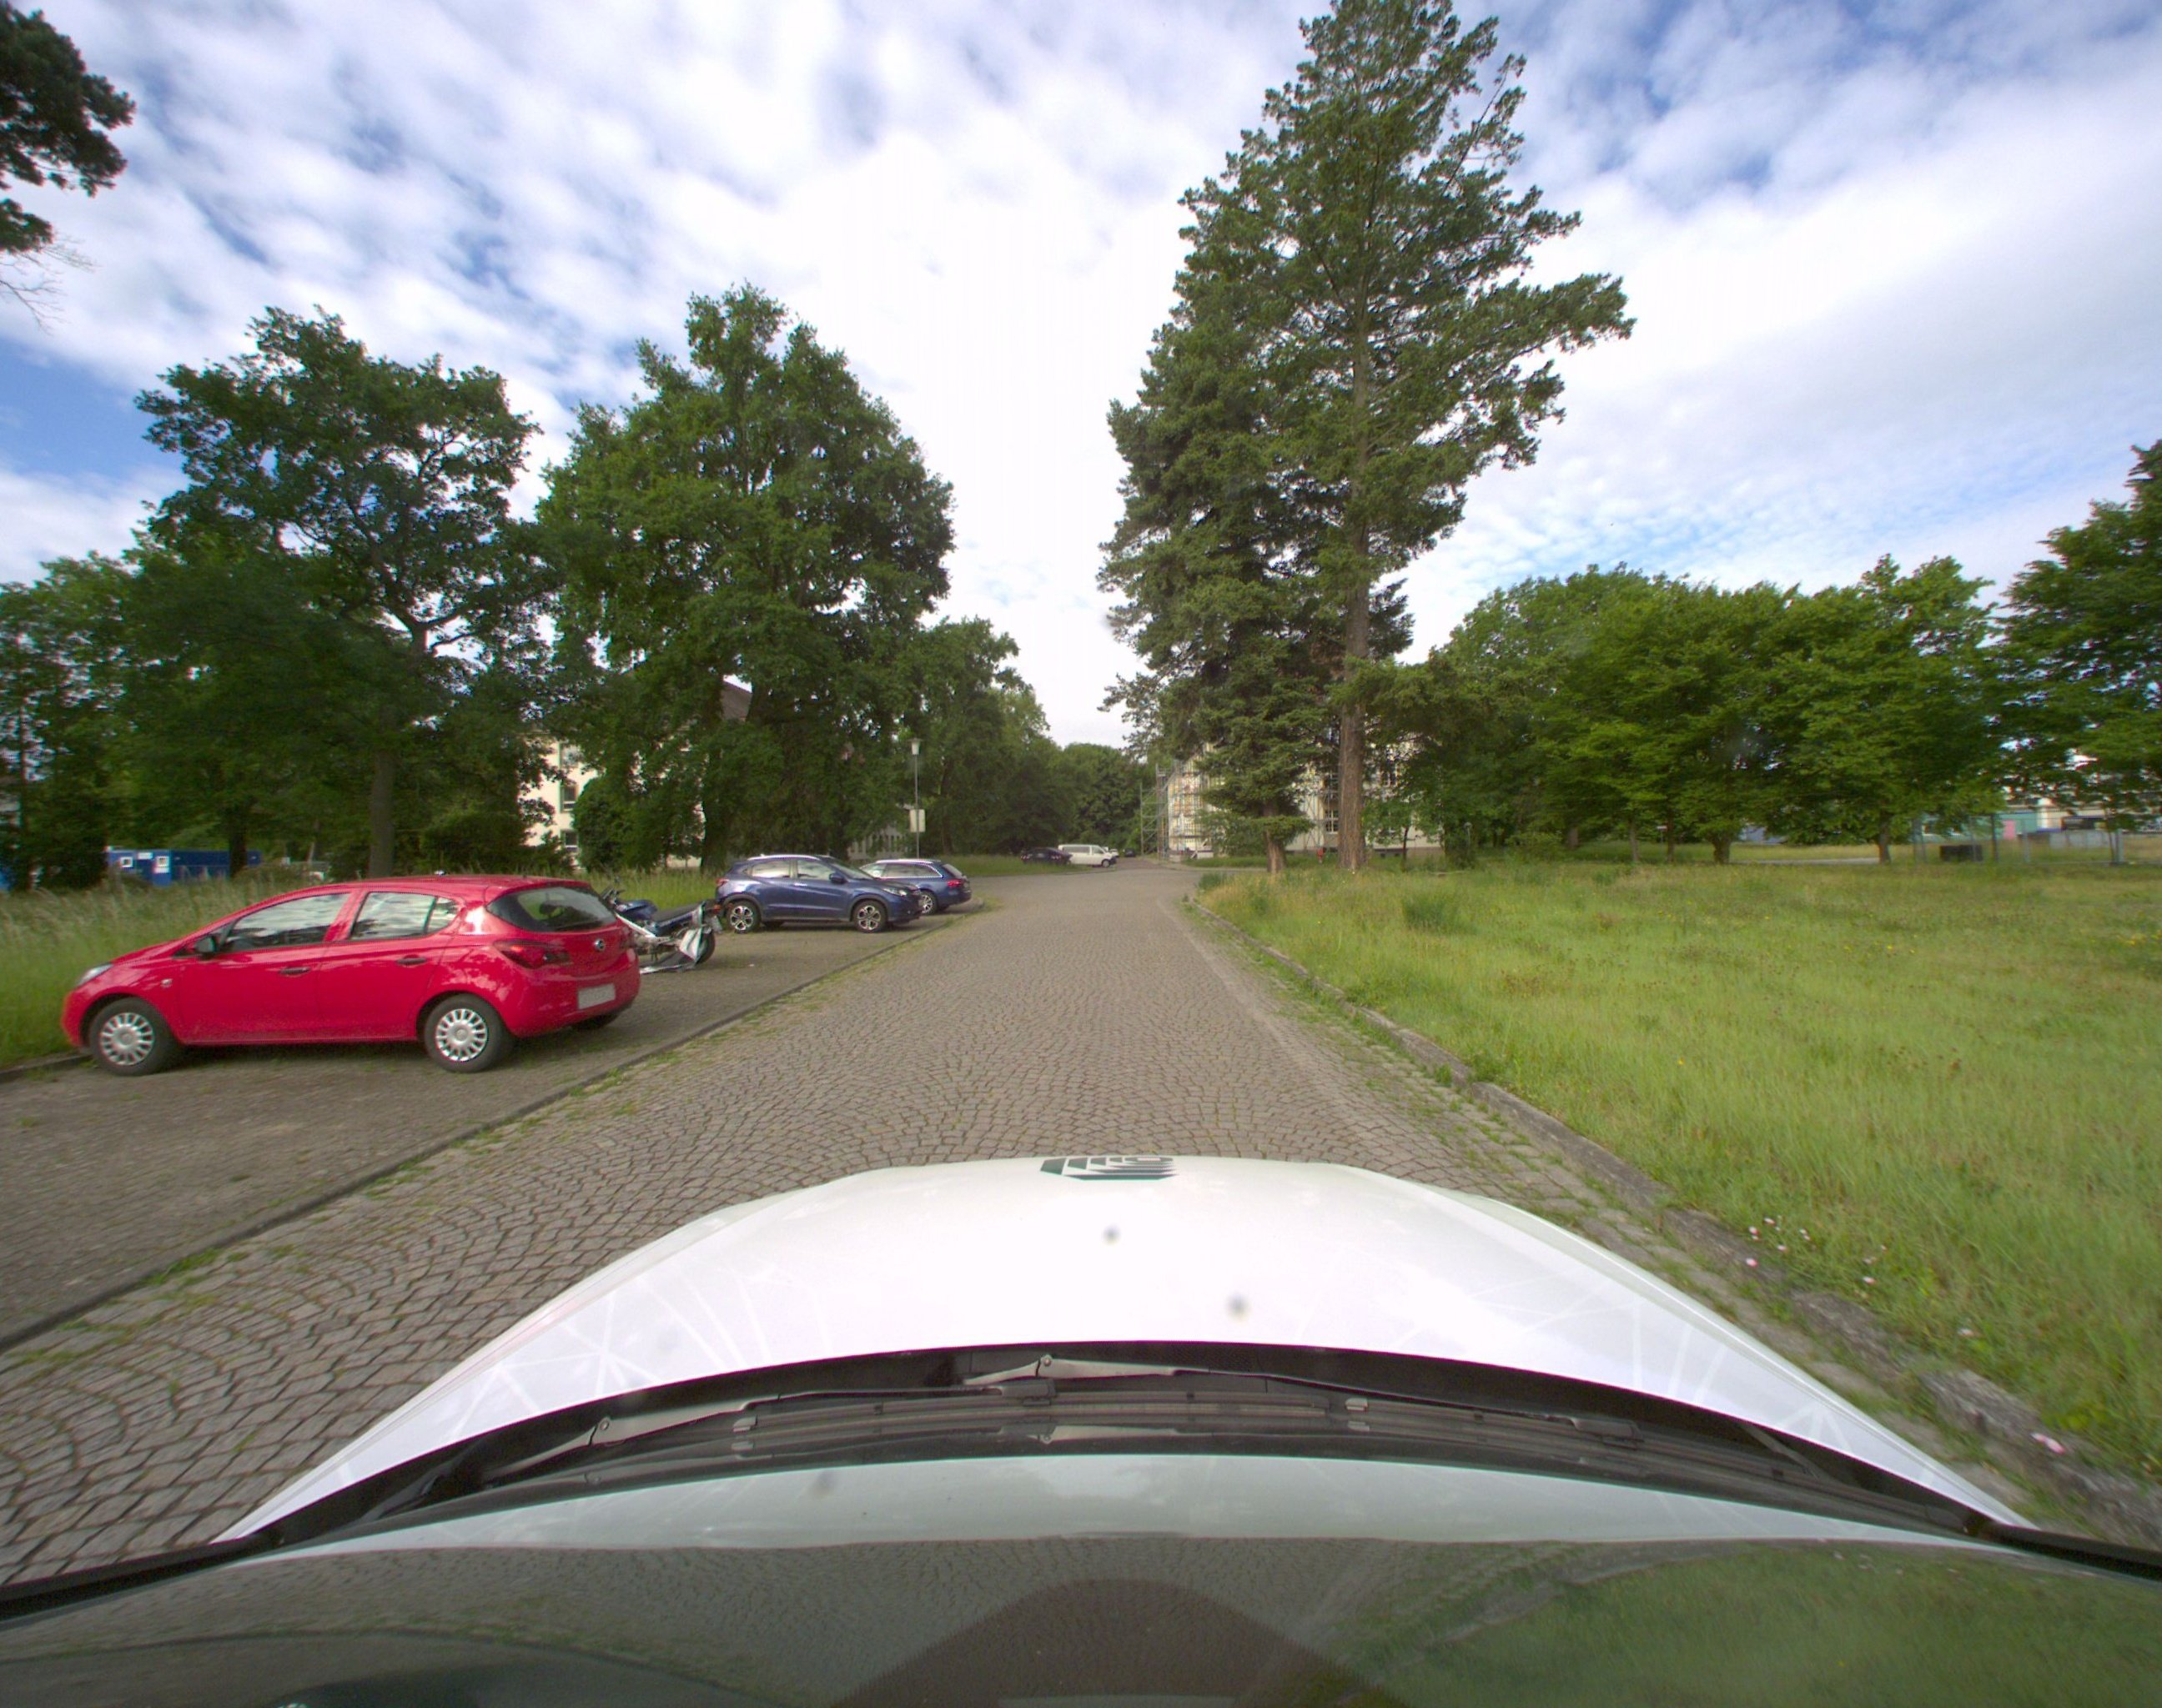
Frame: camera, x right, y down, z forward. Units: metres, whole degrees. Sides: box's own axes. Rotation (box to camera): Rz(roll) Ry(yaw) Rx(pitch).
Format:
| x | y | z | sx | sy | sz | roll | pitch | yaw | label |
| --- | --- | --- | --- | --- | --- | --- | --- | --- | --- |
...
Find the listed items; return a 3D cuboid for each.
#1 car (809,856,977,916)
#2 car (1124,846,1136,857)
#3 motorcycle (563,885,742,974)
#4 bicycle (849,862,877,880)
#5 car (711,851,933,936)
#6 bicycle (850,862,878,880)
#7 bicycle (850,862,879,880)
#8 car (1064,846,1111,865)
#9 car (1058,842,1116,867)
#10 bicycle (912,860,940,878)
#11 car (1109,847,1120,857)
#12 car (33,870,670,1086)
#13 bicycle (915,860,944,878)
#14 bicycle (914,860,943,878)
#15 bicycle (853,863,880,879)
| x | y | z | sx | sy | sz | roll | pitch | yaw | label |
| --- | --- | --- | --- | --- | --- | --- | --- | --- | --- |
| -4.985 | 0.850 | 21.920 | 4.051 | 1.467 | 1.628 | -1 | 1 | 5 | car |
| 8.255 | -0.452 | 137.013 | 1.784 | 1.720 | 4.061 | -2 | -1 | 1 | car |
| -6.053 | 1.055 | 11.556 | 2.216 | 1.159 | 0.648 | -1 | 0 | 4 | motorcycle |
| -14.025 | 1.092 | 52.474 | 1.706 | 1.053 | 0.571 | -1 | -1 | -19 | bicycle |
| -5.364 | 0.786 | 17.229 | 4.058 | 1.604 | 1.788 | -1 | 1 | 0 | car |
| -13.715 | 1.064 | 51.493 | 1.706 | 1.053 | 0.571 | -1 | -1 | -19 | bicycle |
| -13.539 | 1.048 | 50.941 | 1.706 | 1.053 | 0.571 | -1 | -1 | -19 | bicycle |
| 0.696 | 0.183 | 88.215 | 4.961 | 1.968 | 2.052 | -1 | -1 | 0 | car |
| 0.517 | 0.062 | 70.789 | 4.961 | 2.072 | 2.052 | -1 | -1 | 0 | car |
| -9.888 | 0.956 | 52.031 | 1.706 | 1.053 | 0.571 | -1 | -1 | -19 | bicycle |
| 5.631 | -0.334 | 136.758 | 1.784 | 1.636 | 4.061 | -2 | -1 | 1 | car |
| -5.910 | 0.945 | 6.984 | 3.802 | 1.489 | 1.788 | -1 | 1 | 1 | car |
| -9.396 | 0.913 | 50.561 | 1.706 | 1.053 | 0.571 | -1 | -1 | -19 | bicycle |
| -9.586 | 0.929 | 51.128 | 1.706 | 1.053 | 0.571 | -1 | -1 | -19 | bicycle |
| -14.279 | 1.134 | 54.294 | 1.706 | 1.053 | 0.571 | -1 | -1 | -19 | bicycle |
